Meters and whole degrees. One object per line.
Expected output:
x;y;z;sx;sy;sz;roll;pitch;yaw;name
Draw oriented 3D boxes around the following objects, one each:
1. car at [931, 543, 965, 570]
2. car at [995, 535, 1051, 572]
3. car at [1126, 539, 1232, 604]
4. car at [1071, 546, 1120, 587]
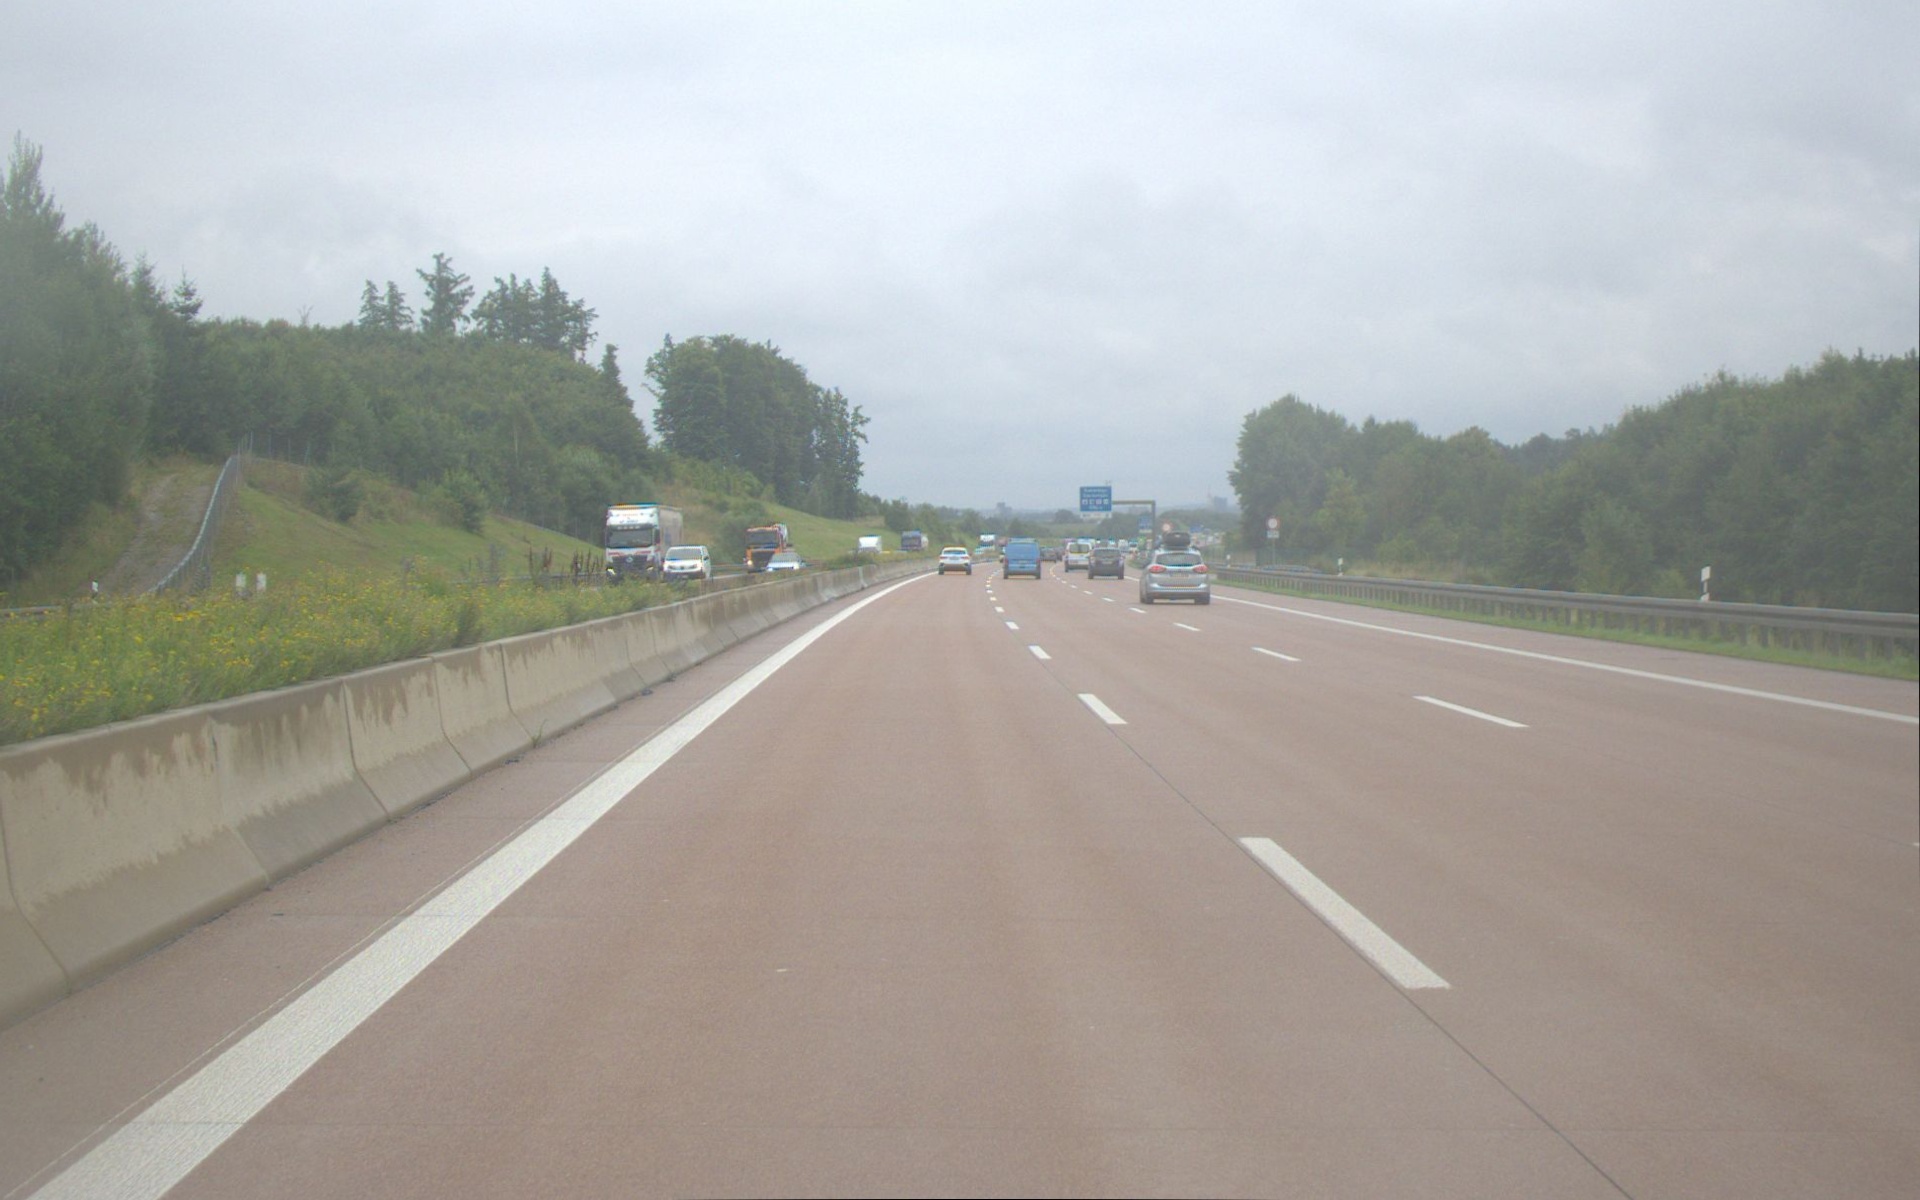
-0.698;-2.482;196.309;1.874;1.439;4.877;1;0;-1;car
3.148;-2.331;173.087;2.322;1.744;4.877;1;0;-4;car
6.151;-0.795;97.258;2.322;1.744;4.877;1;0;-4;car
6.919;-1.692;175.978;1.993;2.007;4.000;1;0;-4;car
